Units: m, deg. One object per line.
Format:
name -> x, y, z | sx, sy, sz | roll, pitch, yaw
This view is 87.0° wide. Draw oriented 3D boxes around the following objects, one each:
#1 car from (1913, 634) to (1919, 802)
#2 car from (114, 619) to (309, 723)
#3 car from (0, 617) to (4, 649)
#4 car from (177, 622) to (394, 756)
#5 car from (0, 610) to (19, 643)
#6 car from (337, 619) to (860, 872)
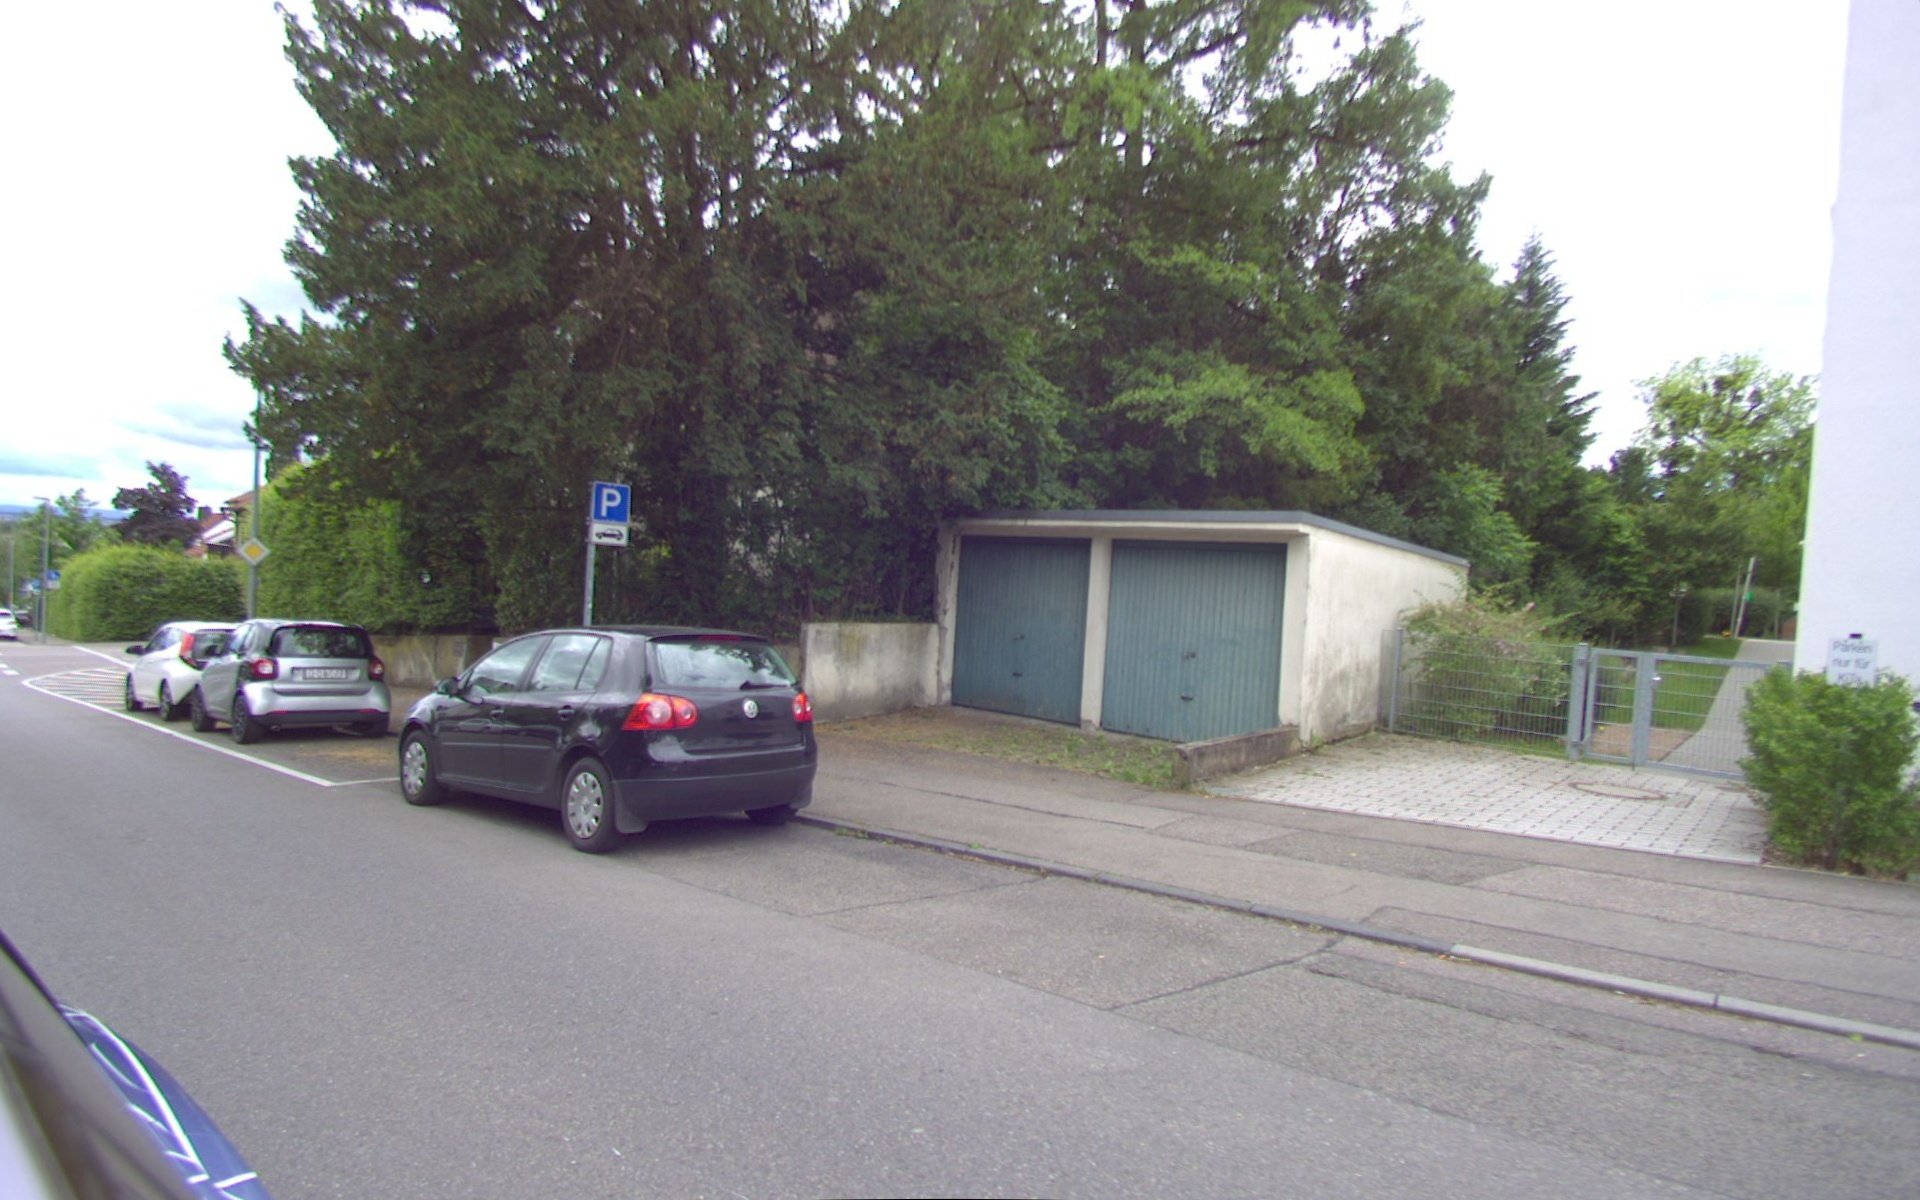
car -> 7.553, 0.910, 6.360 | 1.738, 1.364, 3.761 | -1, -2, 35
car -> -11.932, 1.073, 16.077 | 3.512, 1.459, 1.726 | -1, -4, 41
car -> -48.514, 1.534, 49.869 | 4.740, 1.501, 1.762 | -1, -5, 44
car -> -8.979, 1.080, 13.429 | 2.973, 1.530, 1.607 | 0, -2, 40
car -> -44.635, 1.190, 46.598 | 3.581, 1.430, 1.670 | -1, -5, 45
car -> -3.111, 0.918, 8.162 | 4.679, 1.481, 1.832 | -1, -3, 40
